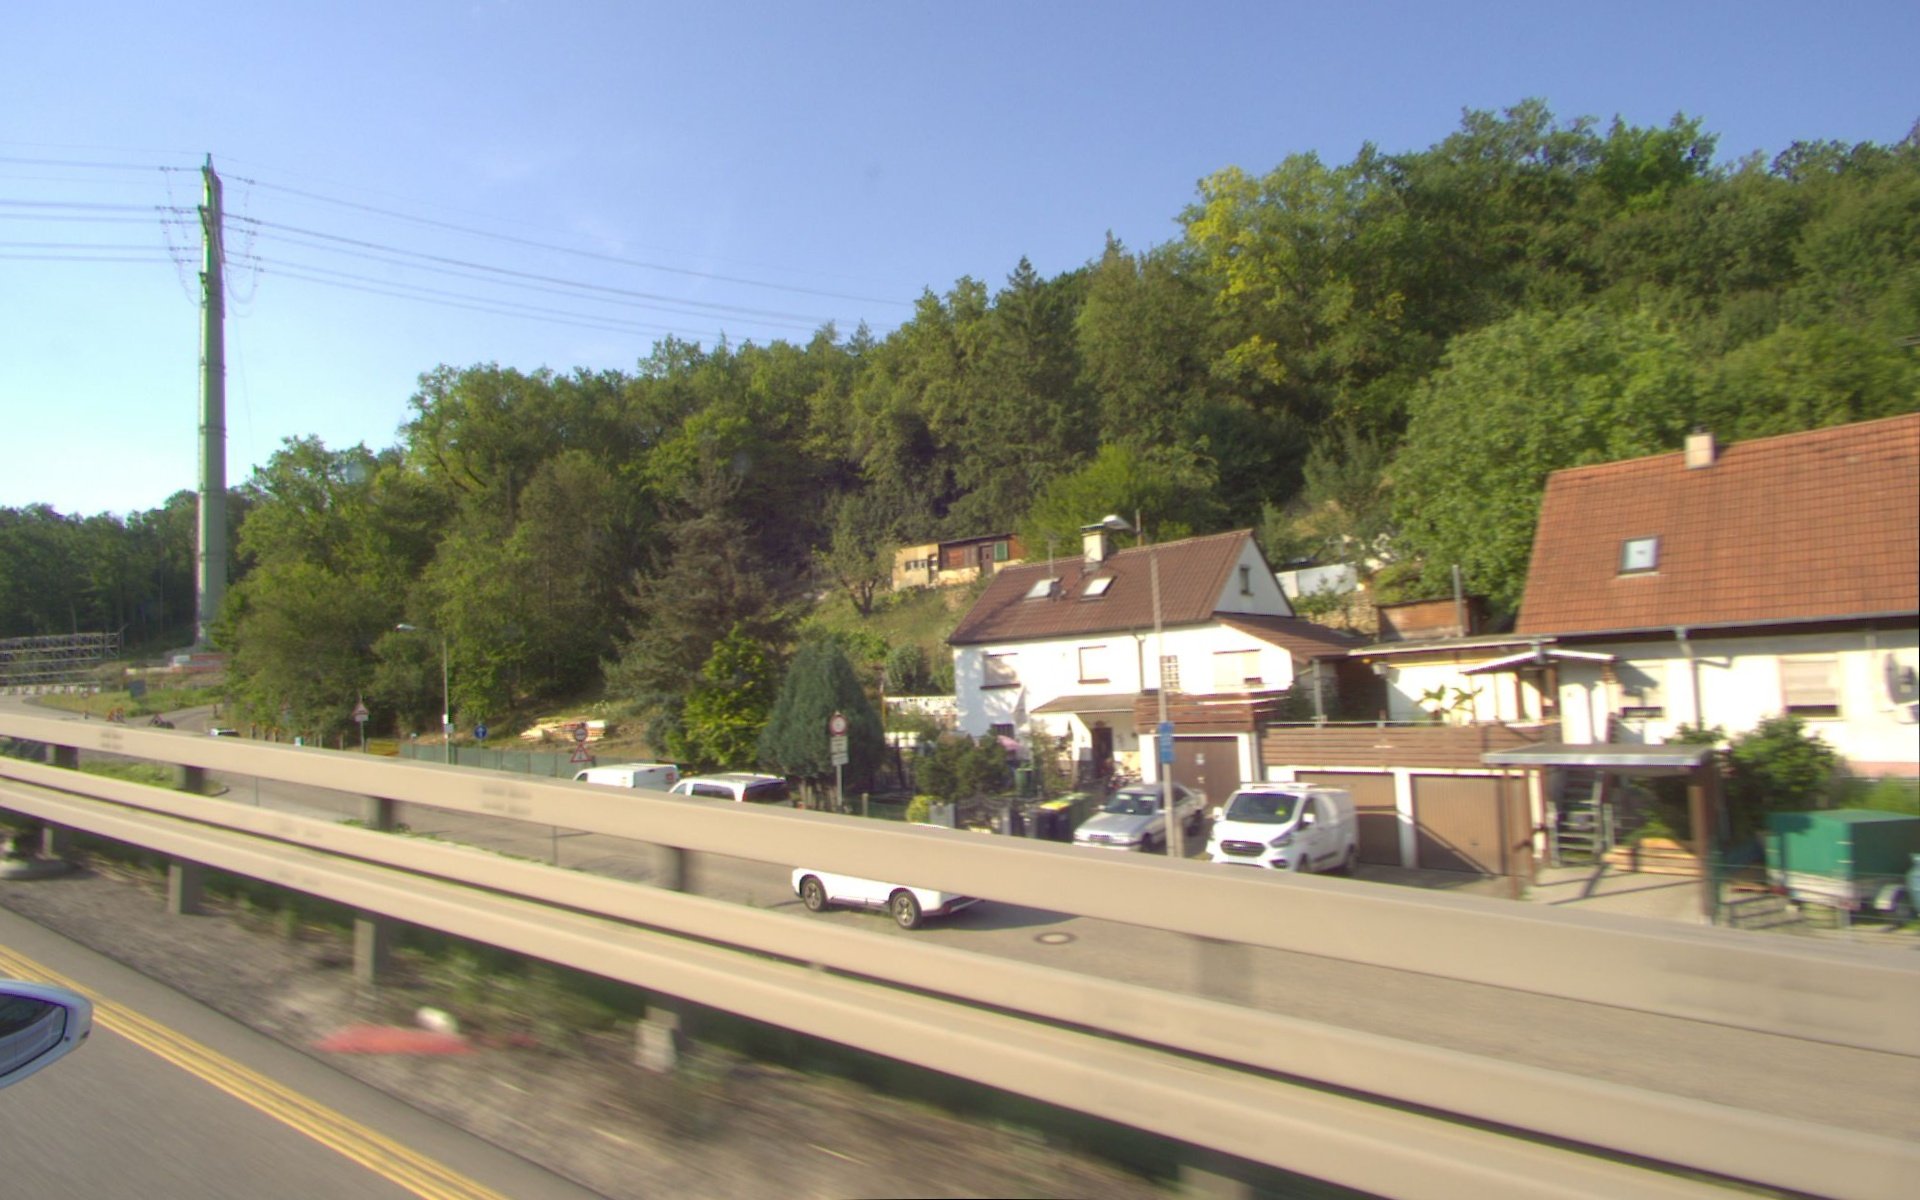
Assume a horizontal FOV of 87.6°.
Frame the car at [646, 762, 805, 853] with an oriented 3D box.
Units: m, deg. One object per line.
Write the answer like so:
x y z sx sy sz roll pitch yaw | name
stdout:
-6.816 5.868 28.818 4.812 1.941 1.986 -5 -3 41 | car

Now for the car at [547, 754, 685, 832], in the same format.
-11.316 6.223 32.765 4.994 2.011 1.854 -5 -3 39 | car

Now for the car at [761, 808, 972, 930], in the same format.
-2.014 5.427 20.683 4.420 1.682 1.661 -4 -2 40 | car

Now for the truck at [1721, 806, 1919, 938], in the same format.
15.238 4.402 16.564 3.926 1.756 2.003 1 -8 -12 | truck

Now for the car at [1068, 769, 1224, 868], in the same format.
4.786 5.370 25.154 1.695 1.576 5.072 -3 -3 38 | car

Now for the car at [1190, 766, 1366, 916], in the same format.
7.295 5.230 22.574 1.976 2.291 5.448 -3 -4 38 | car

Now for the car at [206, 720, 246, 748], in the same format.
-48.615 8.839 66.269 1.516 1.479 4.226 -1 -1 -45 | car
